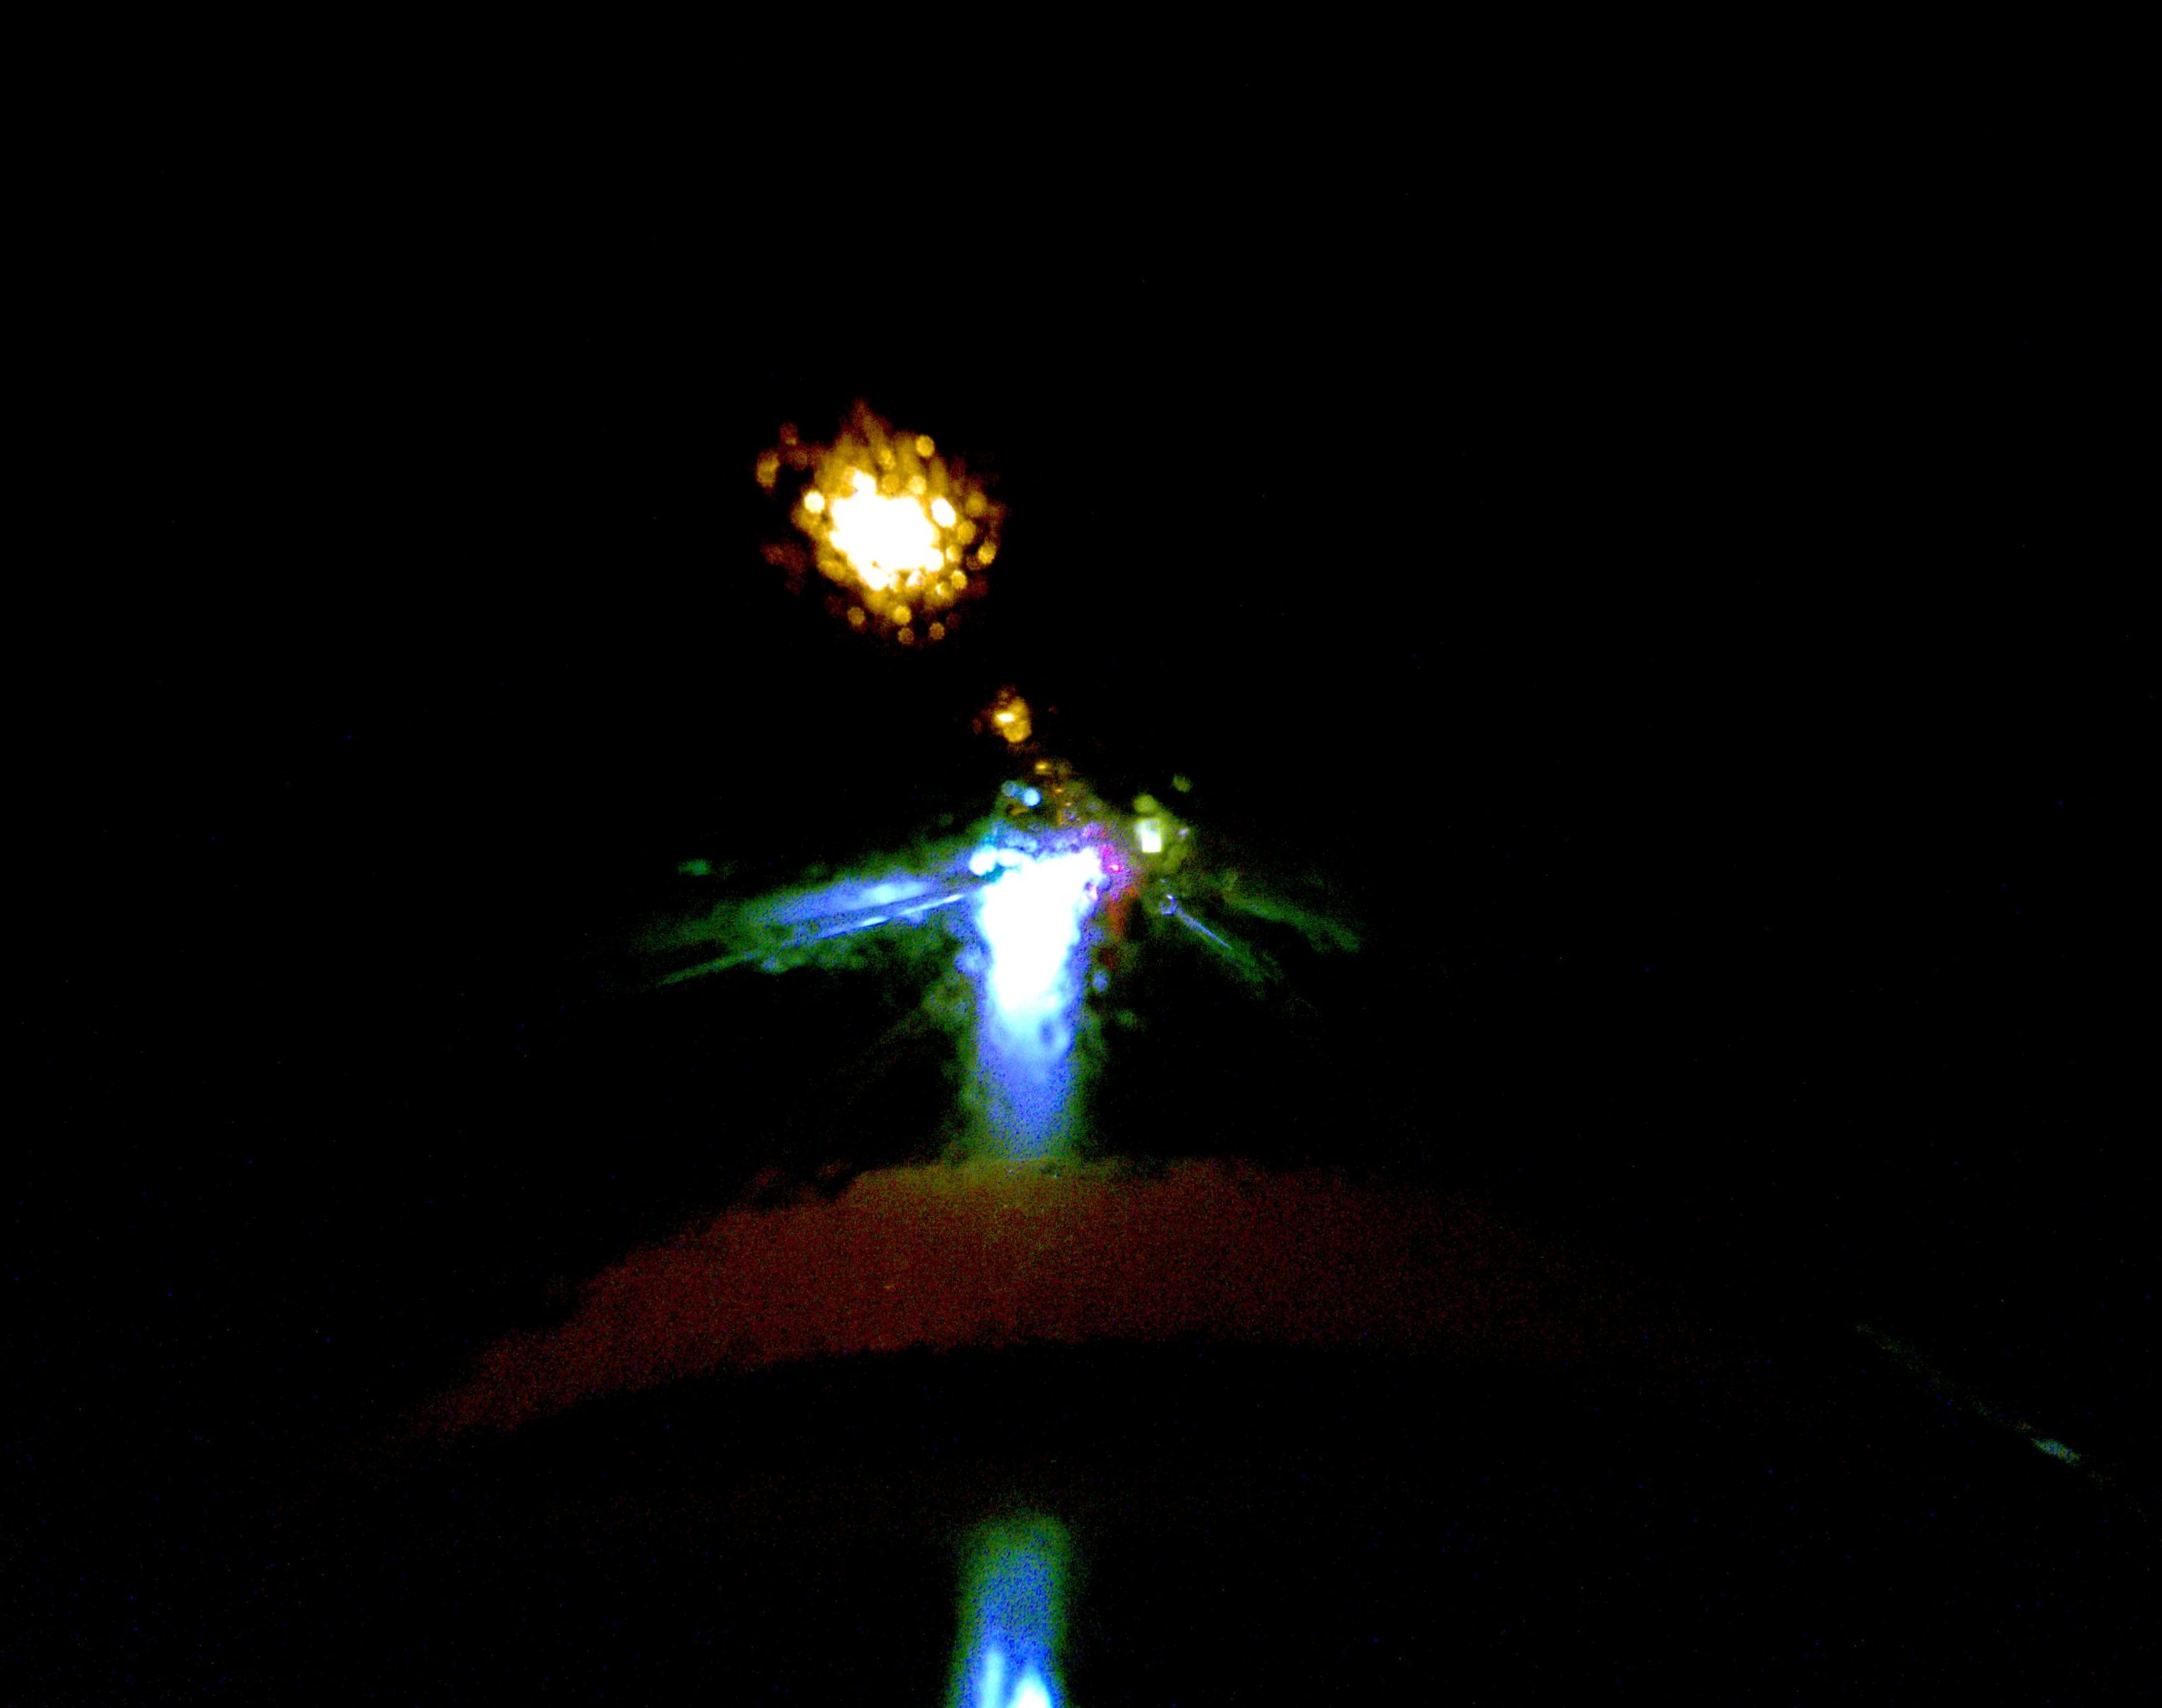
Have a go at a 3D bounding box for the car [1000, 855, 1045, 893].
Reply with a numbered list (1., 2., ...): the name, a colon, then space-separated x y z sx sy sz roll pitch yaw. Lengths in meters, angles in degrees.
1. car: -2.708 0.913 38.664 1.691 1.676 4.129 -1 0 2

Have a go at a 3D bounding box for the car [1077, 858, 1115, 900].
1. car: 0.726 1.092 37.234 1.629 1.758 4.147 -1 0 2

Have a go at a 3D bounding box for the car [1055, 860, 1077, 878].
1. car: -1.317 1.348 73.293 1.742 1.480 4.477 -1 0 2

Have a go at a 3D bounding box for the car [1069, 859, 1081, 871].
1. car: -0.764 1.531 114.350 1.515 1.549 4.056 -1 1 2
